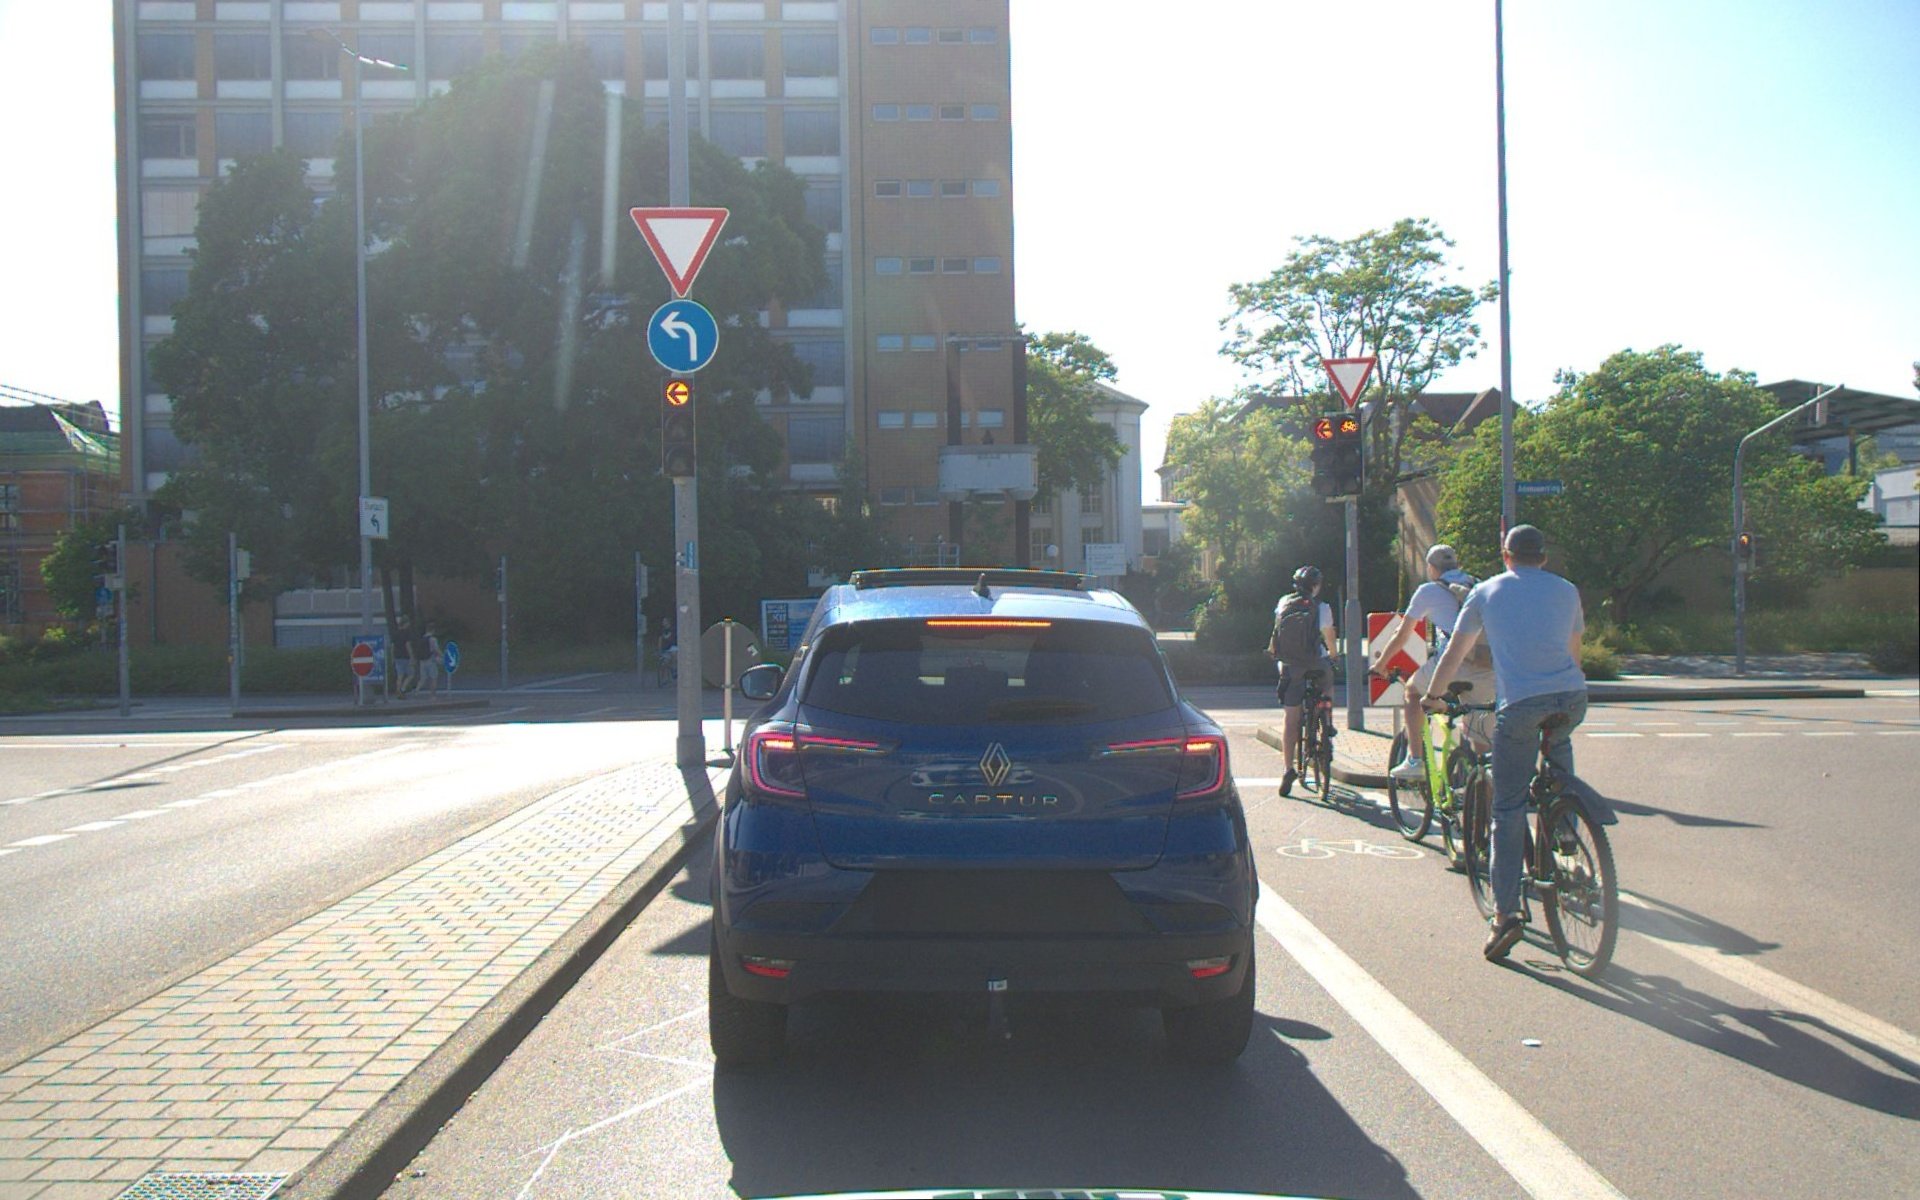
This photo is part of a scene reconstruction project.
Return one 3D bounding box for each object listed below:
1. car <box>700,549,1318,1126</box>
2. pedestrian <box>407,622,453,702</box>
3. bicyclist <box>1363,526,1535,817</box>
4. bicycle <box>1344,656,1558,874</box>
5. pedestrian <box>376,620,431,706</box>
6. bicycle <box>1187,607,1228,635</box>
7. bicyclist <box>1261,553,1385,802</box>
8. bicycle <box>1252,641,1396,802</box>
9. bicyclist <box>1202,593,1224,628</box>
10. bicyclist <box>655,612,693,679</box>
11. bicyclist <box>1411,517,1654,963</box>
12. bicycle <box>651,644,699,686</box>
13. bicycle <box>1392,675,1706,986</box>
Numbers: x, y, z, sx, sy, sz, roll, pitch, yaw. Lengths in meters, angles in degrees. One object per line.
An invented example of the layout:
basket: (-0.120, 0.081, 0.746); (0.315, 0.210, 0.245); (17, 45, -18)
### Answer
car: (0.059, 0.669, 6.633); (1.753, 1.613, 3.912); (0, 0, -3)
pedestrian: (-11.803, 1.373, 36.848); (0.666, 1.761, 0.761); (-1, 0, 13)
bicyclist: (2.867, 0.399, 9.795); (0.664, 1.622, 1.142); (0, 0, -1)
bicycle: (2.858, 0.916, 9.828); (0.675, 1.108, 1.922); (0, 0, -1)
pedestrian: (-12.564, 1.421, 37.355); (0.796, 1.895, 0.910); (-1, 0, 13)
bicycle: (10.820, 0.910, 72.446); (0.684, 1.160, 2.426); (-1, 0, -21)
bicyclist: (2.760, 0.566, 12.657); (0.685, 1.822, 1.142); (0, 0, -1)
bicycle: (2.785, 0.898, 12.848); (0.675, 1.108, 1.922); (0, 0, -1)
bicyclist: (11.010, 0.450, 71.955); (0.684, 1.507, 0.713); (-1, 0, -21)
bicyclist: (-7.544, 1.192, 43.656); (0.739, 1.746, 0.999); (-1, 0, 5)
bicyclist: (2.503, 0.574, 7.350); (0.669, 1.822, 1.142); (0, 0, -1)
bicycle: (-7.525, 1.708, 43.759); (0.739, 1.002, 2.095); (-1, 0, 5)
bicycle: (2.510, 0.925, 7.301); (0.675, 1.108, 1.922); (0, 0, -1)
